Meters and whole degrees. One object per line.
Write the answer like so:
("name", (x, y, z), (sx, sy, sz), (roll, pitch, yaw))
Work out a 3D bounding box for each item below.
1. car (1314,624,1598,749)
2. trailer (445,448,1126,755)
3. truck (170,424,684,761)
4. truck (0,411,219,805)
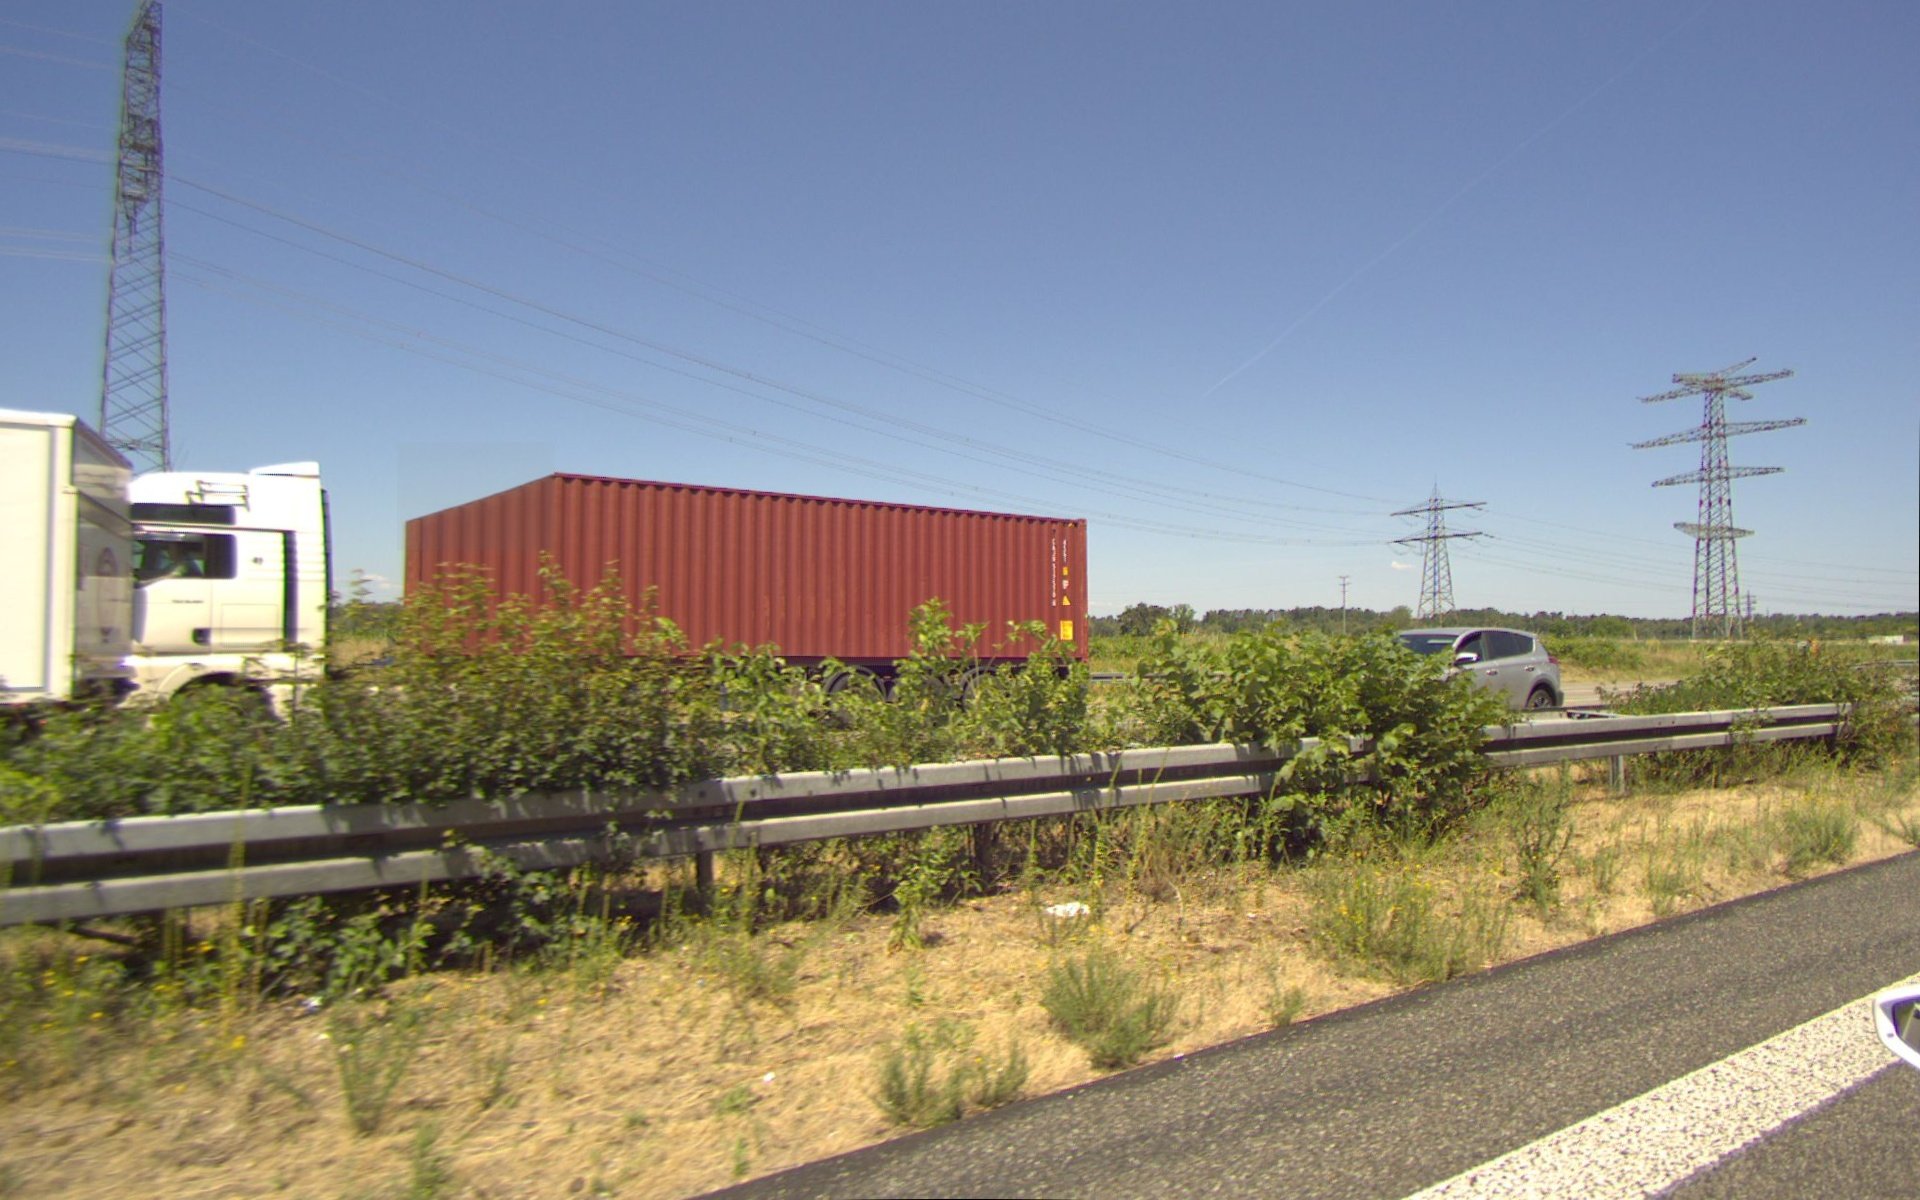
("car", (7.734, 1.238, 15.540), (4.535, 1.690, 1.826), (1, -2, -31))
("trailer", (-2.674, 0.167, 18.723), (12.127, 4.363, 3.178), (2, 0, -30))
("truck", (-7.916, 0.002, 15.598), (6.366, 4.213, 3.197), (1, -2, -31))
("truck", (-12.165, 0.068, 8.355), (9.254, 3.457, 2.924), (1, -4, -30))
